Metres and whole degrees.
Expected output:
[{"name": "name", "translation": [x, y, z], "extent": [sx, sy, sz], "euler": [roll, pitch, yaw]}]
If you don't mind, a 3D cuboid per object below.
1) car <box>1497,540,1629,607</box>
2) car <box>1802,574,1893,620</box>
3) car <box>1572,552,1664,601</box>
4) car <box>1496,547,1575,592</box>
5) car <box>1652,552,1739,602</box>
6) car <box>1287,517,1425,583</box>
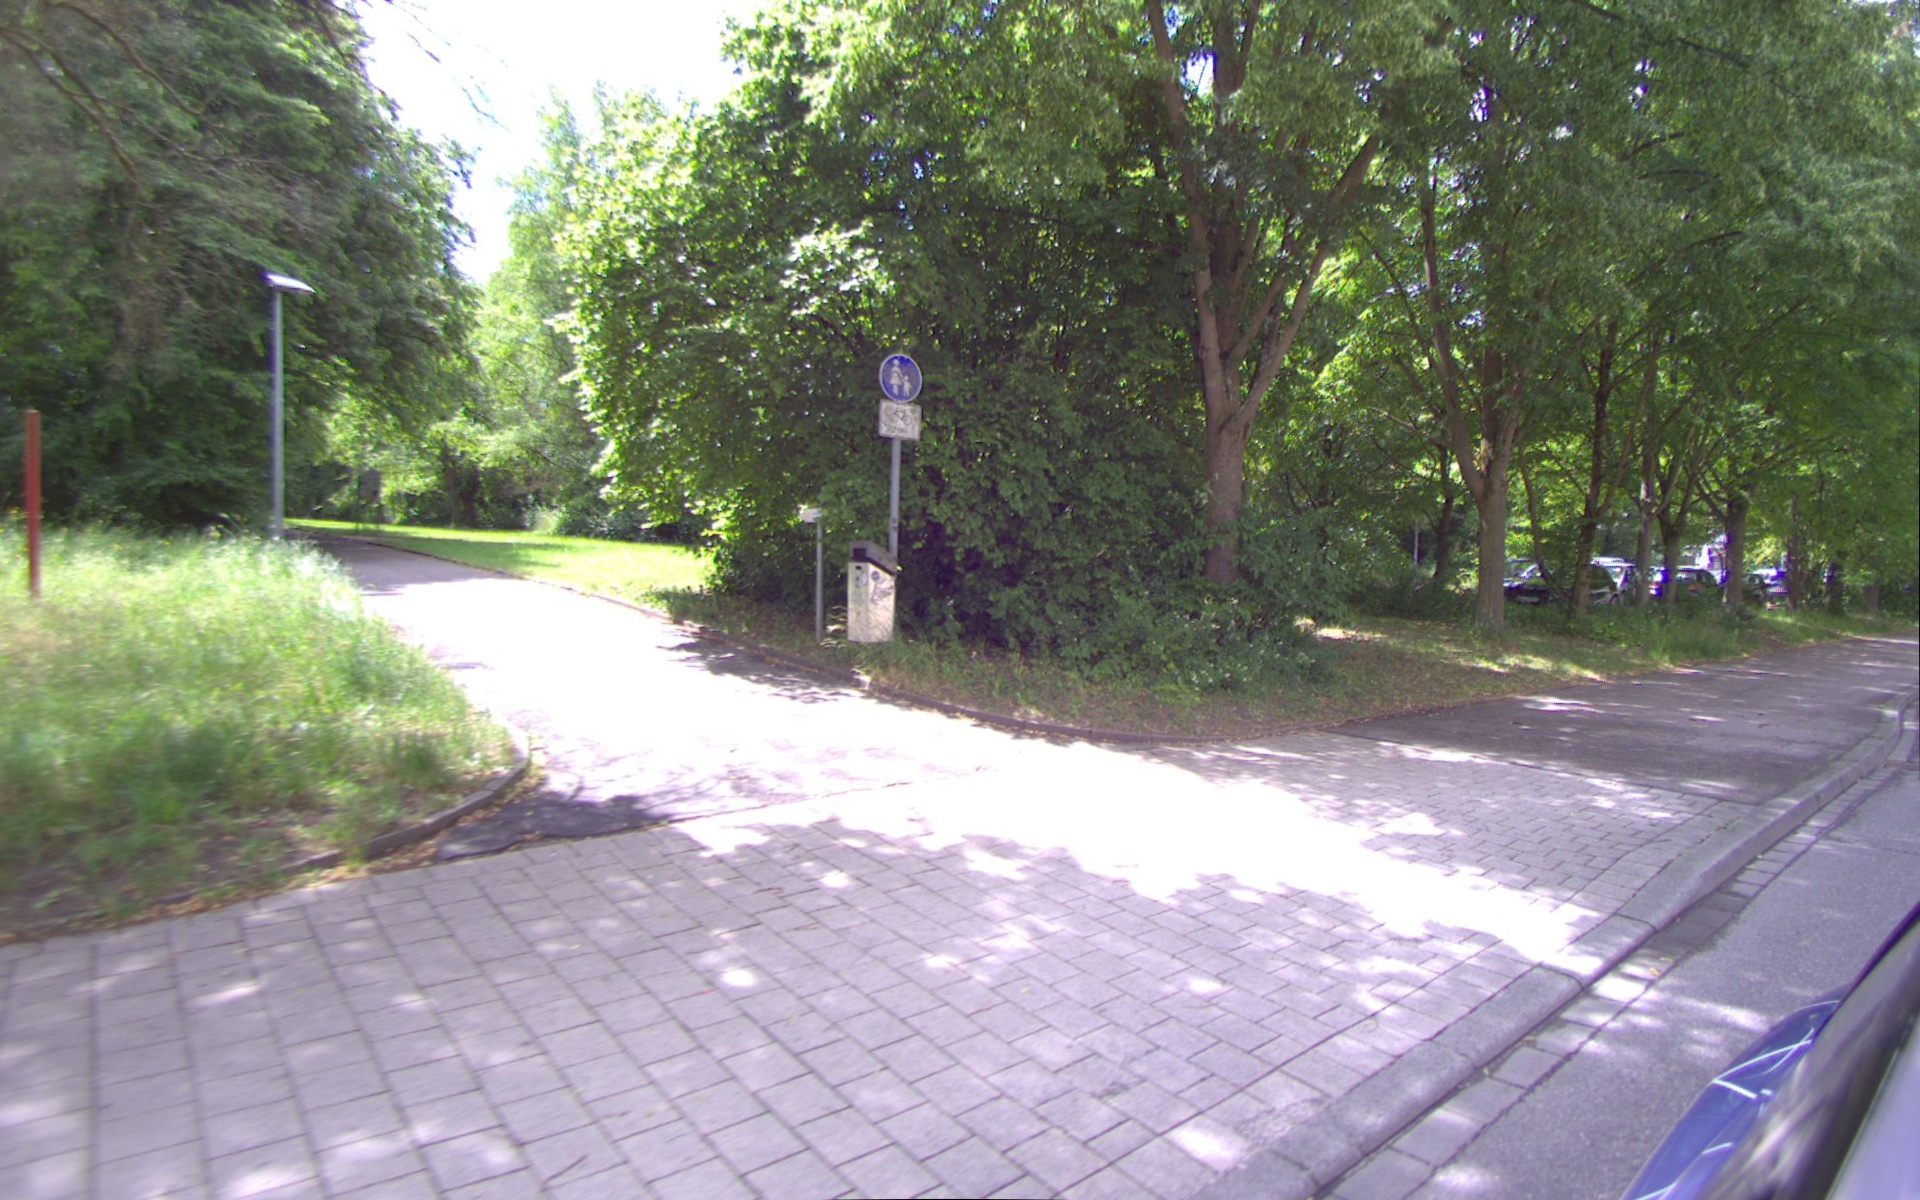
[{"name": "car", "translation": [15.267, -0.665, 25.587], "extent": [3.611, 1.561, 1.756], "euler": [-1, 1, -39]}, {"name": "car", "translation": [31.498, -0.135, 35.902], "extent": [3.607, 1.561, 1.657], "euler": [-1, 1, -36]}, {"name": "car", "translation": [23.250, -0.846, 35.728], "extent": [3.611, 1.560, 1.657], "euler": [-1, 4, -39]}, {"name": "car", "translation": [21.194, -1.115, 37.206], "extent": [1.653, 1.561, 3.617], "euler": [1, 2, 45]}, {"name": "car", "translation": [24.624, -0.778, 33.851], "extent": [1.752, 1.561, 4.158], "euler": [1, 2, 45]}, {"name": "car", "translation": [10.062, -1.217, 25.647], "extent": [3.559, 1.561, 1.657], "euler": [-1, 1, -37]}]
